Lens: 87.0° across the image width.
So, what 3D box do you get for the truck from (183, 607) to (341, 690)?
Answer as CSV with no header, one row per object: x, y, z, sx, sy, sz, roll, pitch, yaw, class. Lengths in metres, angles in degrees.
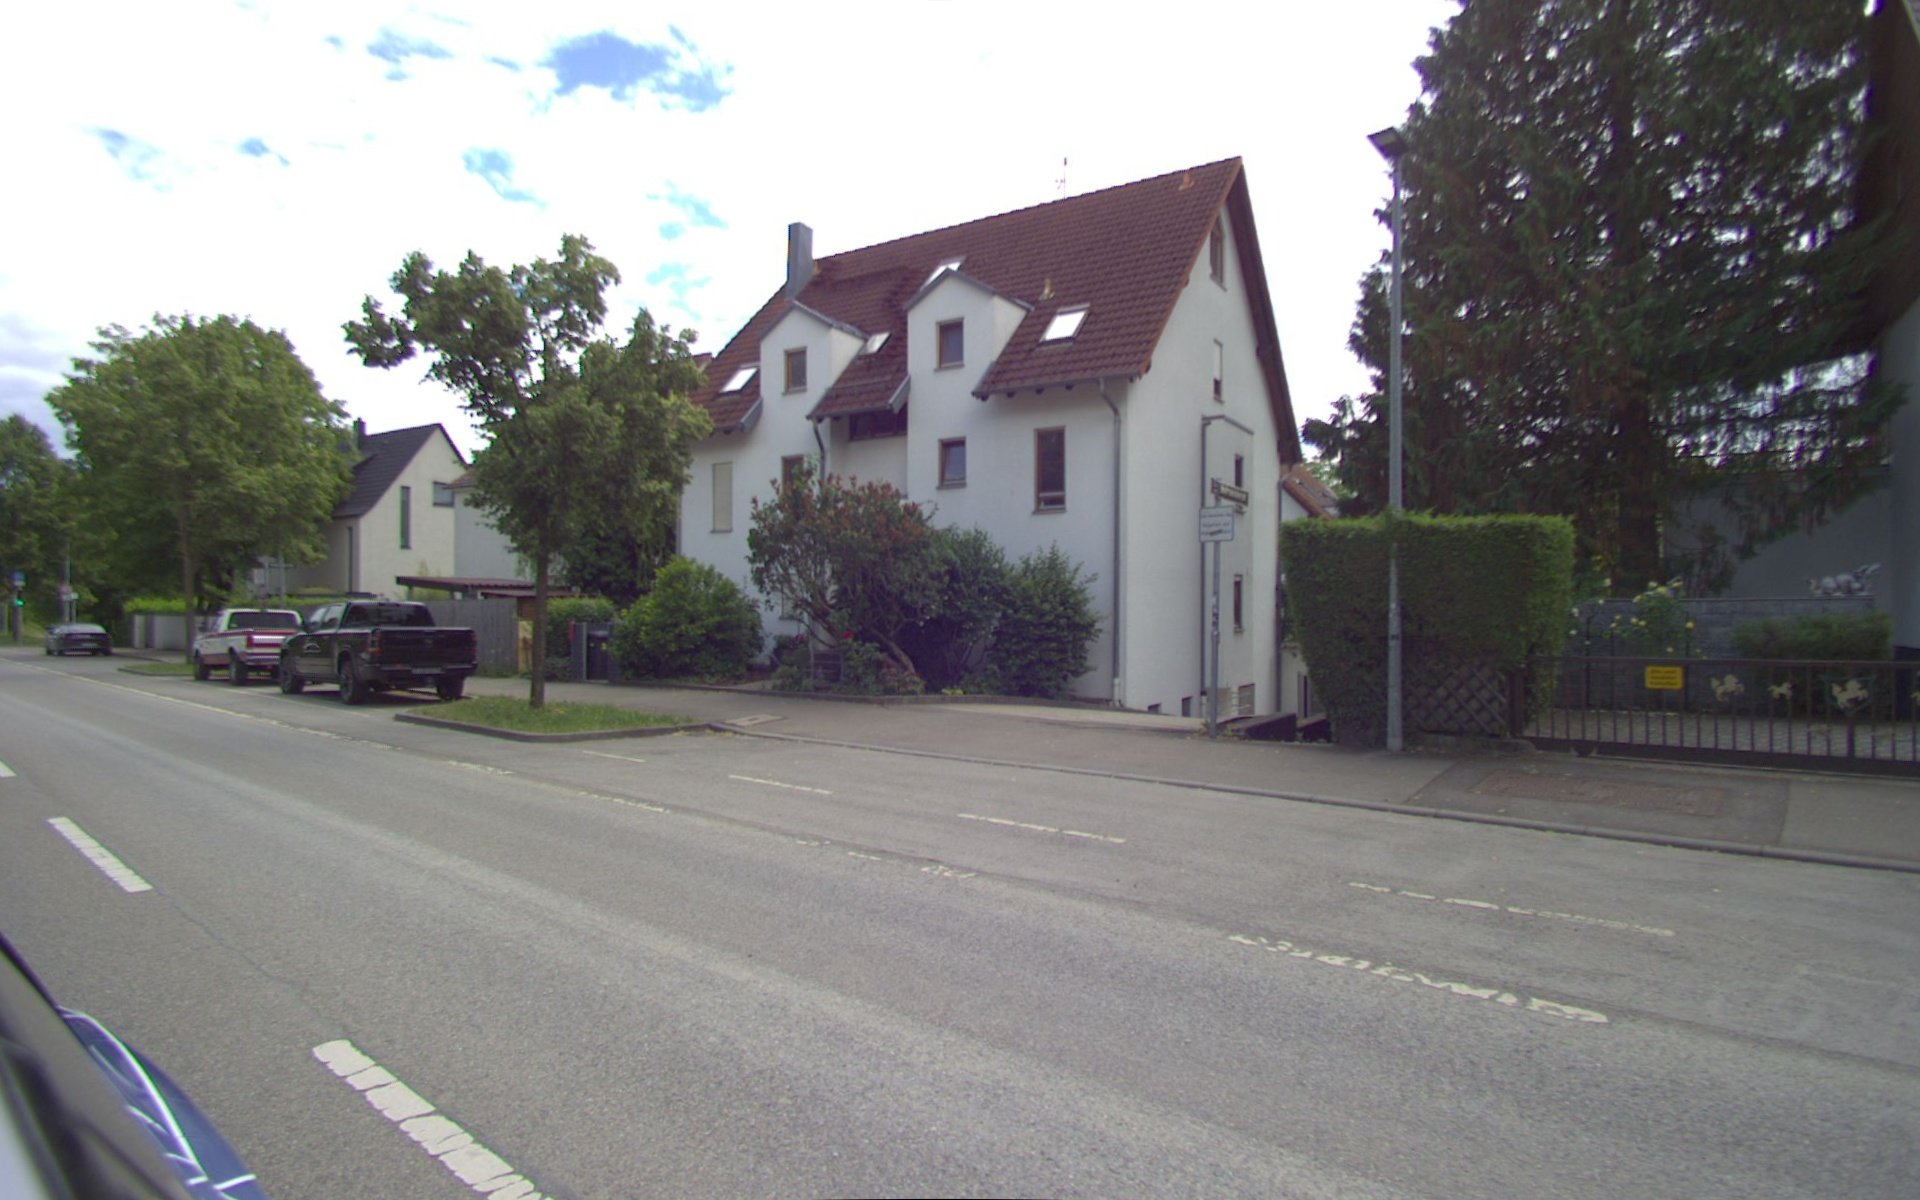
-17.665,1.178,25.487,5.663,1.882,1.946,-1,-3,42,truck

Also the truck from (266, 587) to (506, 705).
-11.780,0.863,20.545,5.992,2.059,2.398,-1,-2,41,truck

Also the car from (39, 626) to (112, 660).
-39.011,1.853,44.593,4.924,1.419,1.727,-1,-3,41,car
